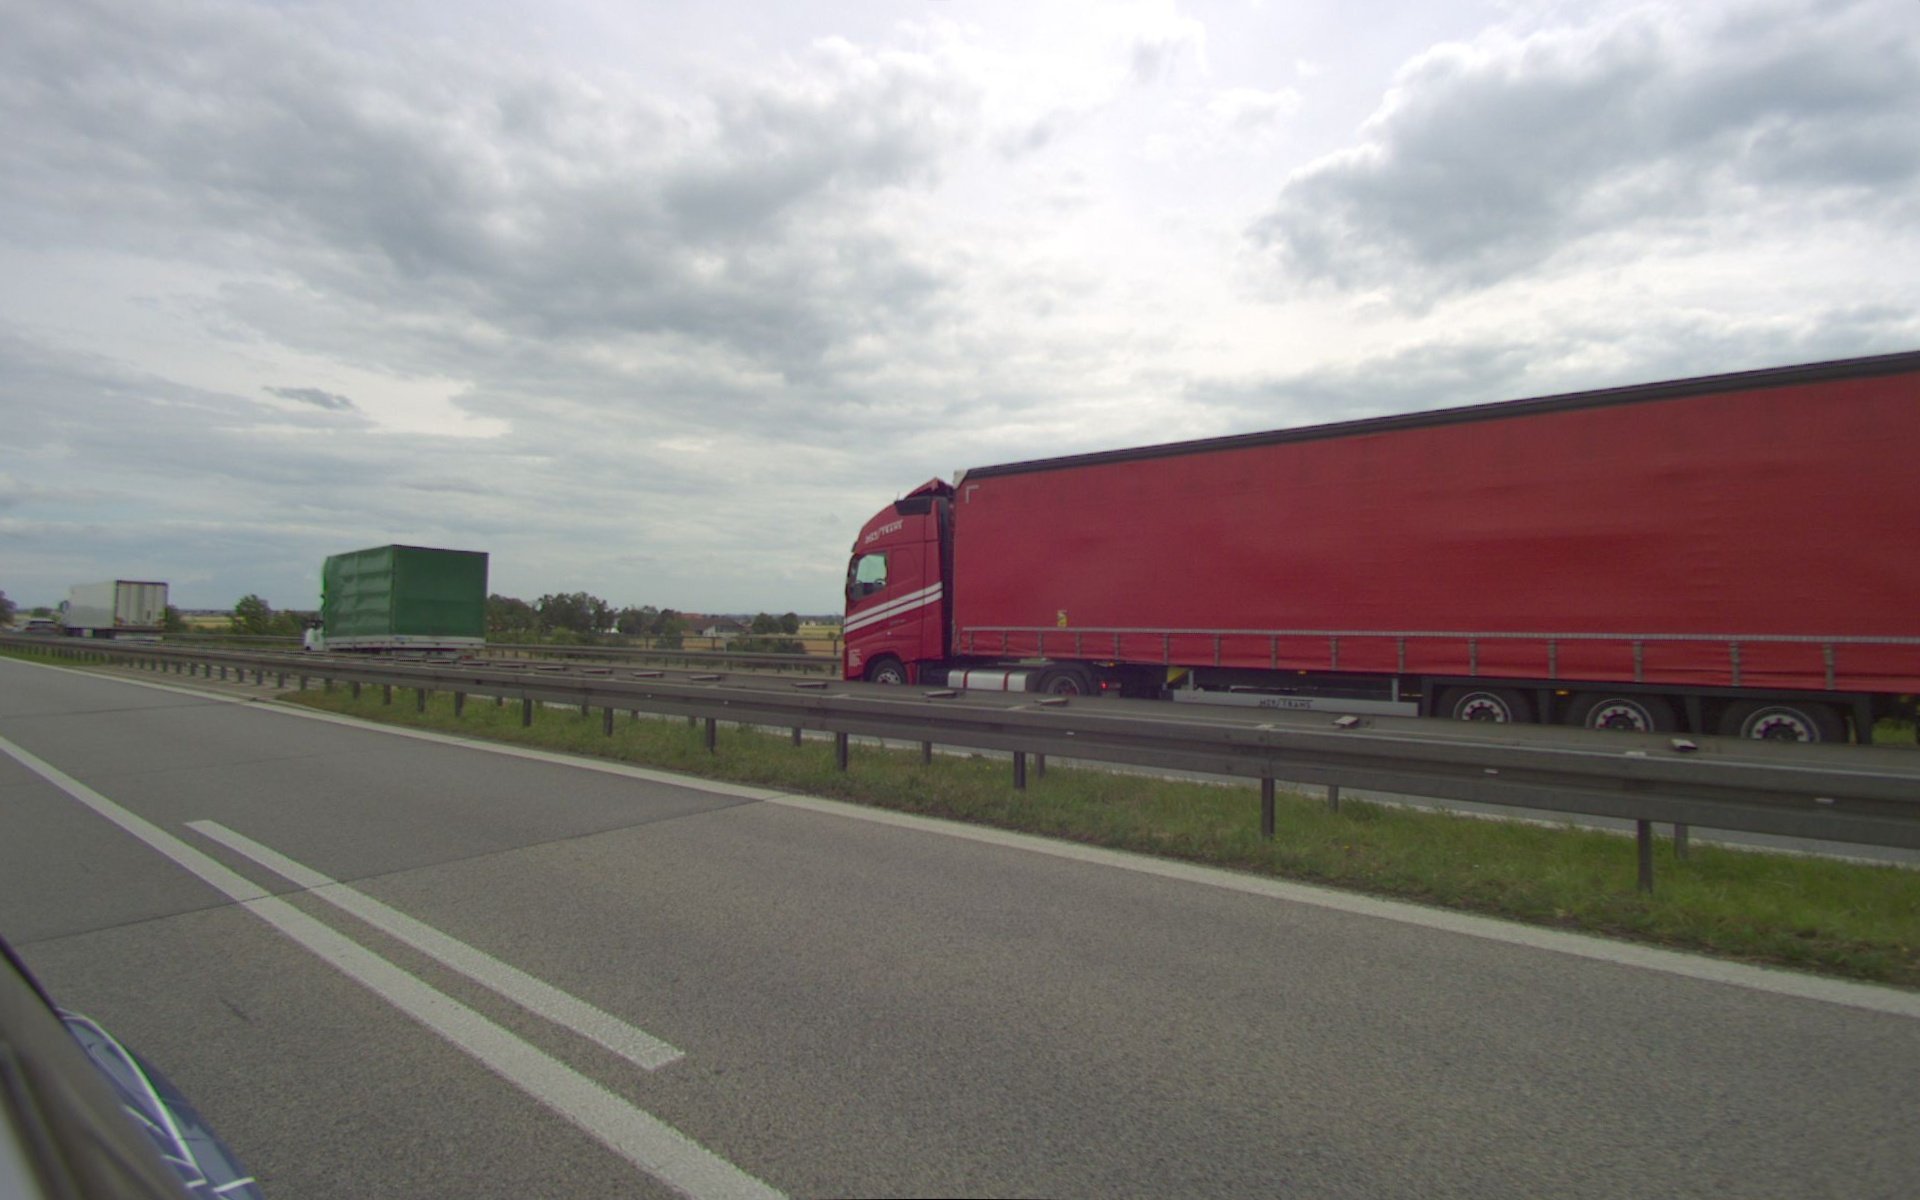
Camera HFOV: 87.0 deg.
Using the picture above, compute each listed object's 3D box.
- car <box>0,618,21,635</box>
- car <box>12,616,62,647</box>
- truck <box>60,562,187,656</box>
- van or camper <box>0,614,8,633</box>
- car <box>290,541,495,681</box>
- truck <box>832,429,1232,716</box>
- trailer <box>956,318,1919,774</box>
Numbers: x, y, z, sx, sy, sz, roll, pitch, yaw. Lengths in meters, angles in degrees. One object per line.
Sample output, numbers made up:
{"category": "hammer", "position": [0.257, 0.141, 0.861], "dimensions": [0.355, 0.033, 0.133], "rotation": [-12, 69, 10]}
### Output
{"category": "car", "position": [-118.295, 3.270, 125.720], "dimensions": [3.998, 2.029, 1.973], "rotation": [-1, 0, 41]}
{"category": "car", "position": [-57.810, 1.978, 63.359], "dimensions": [3.998, 1.875, 1.826], "rotation": [-1, -3, 41]}
{"category": "truck", "position": [-55.408, 0.590, 66.819], "dimensions": [14.032, 5.602, 4.278], "rotation": [-1, 0, 41]}
{"category": "van or camper", "position": [-133.165, 3.229, 139.790], "dimensions": [5.506, 2.496, 1.973], "rotation": [-1, 0, 41]}
{"category": "car", "position": [-15.307, 0.282, 27.053], "dimensions": [7.206, 3.296, 2.512], "rotation": [-1, 0, 41]}
{"category": "truck", "position": [1.035, -0.363, 17.218], "dimensions": [6.322, 3.977, 2.880], "rotation": [-1, 0, 41]}
{"category": "trailer", "position": [6.115, -0.437, 12.741], "dimensions": [13.971, 3.971, 2.878], "rotation": [-1, 0, 42]}
